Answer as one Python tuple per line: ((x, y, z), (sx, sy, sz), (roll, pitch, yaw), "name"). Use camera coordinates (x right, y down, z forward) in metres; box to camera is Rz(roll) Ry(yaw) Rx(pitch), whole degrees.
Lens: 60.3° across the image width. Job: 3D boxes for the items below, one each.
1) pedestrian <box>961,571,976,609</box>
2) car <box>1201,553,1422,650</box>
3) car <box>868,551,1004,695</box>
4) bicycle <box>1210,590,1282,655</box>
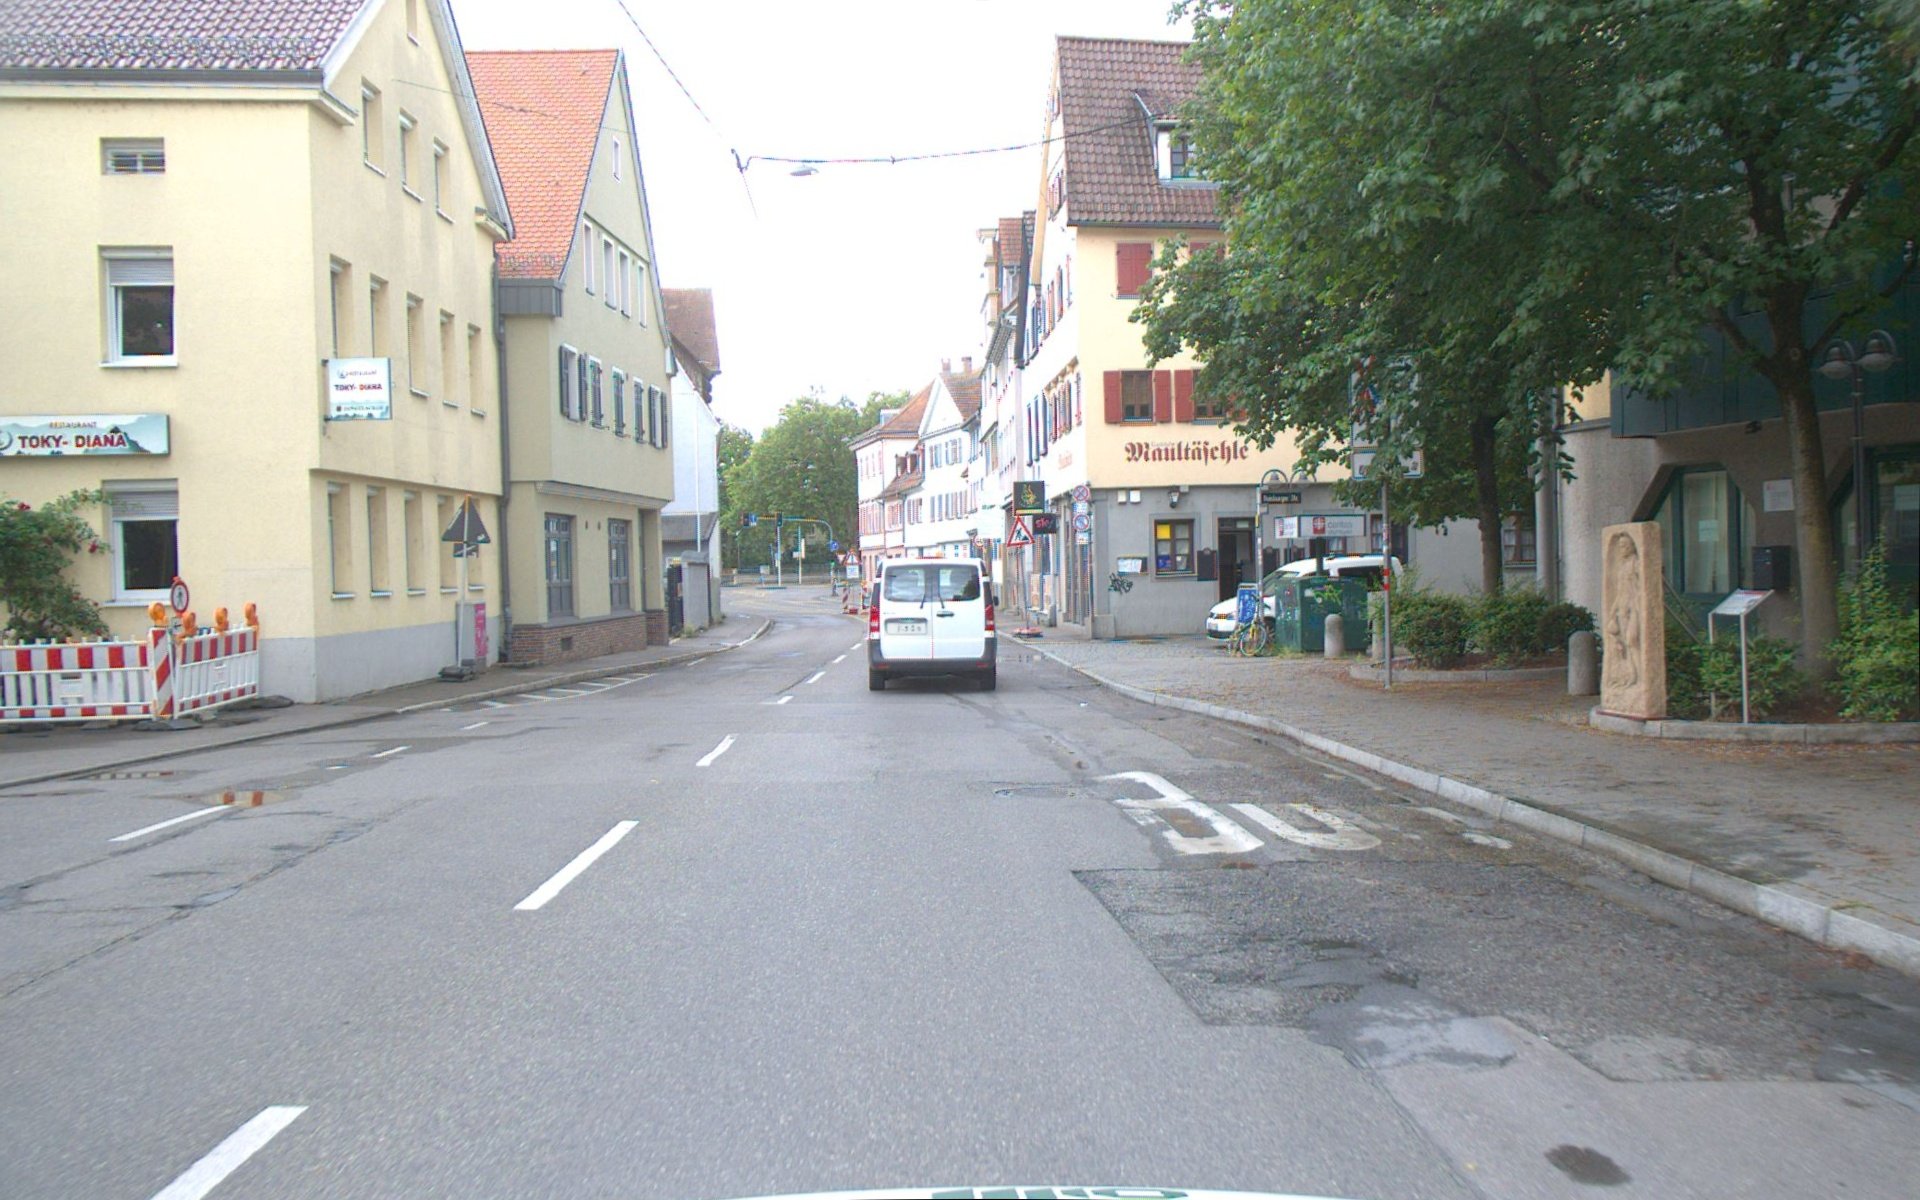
((0.388, -0.483, 78.968), (0.630, 1.777, 0.561), (-1, 0, -6), "pedestrian")
((7.363, -0.009, 34.825), (4.165, 1.828, 1.844), (-2, 3, -10), "car")
((-0.343, 0.289, 24.890), (1.834, 1.945, 4.000), (-2, 1, 0), "car")
((5.216, 0.402, 30.219), (0.492, 1.125, 1.627), (-2, 0, -21), "bicycle")
